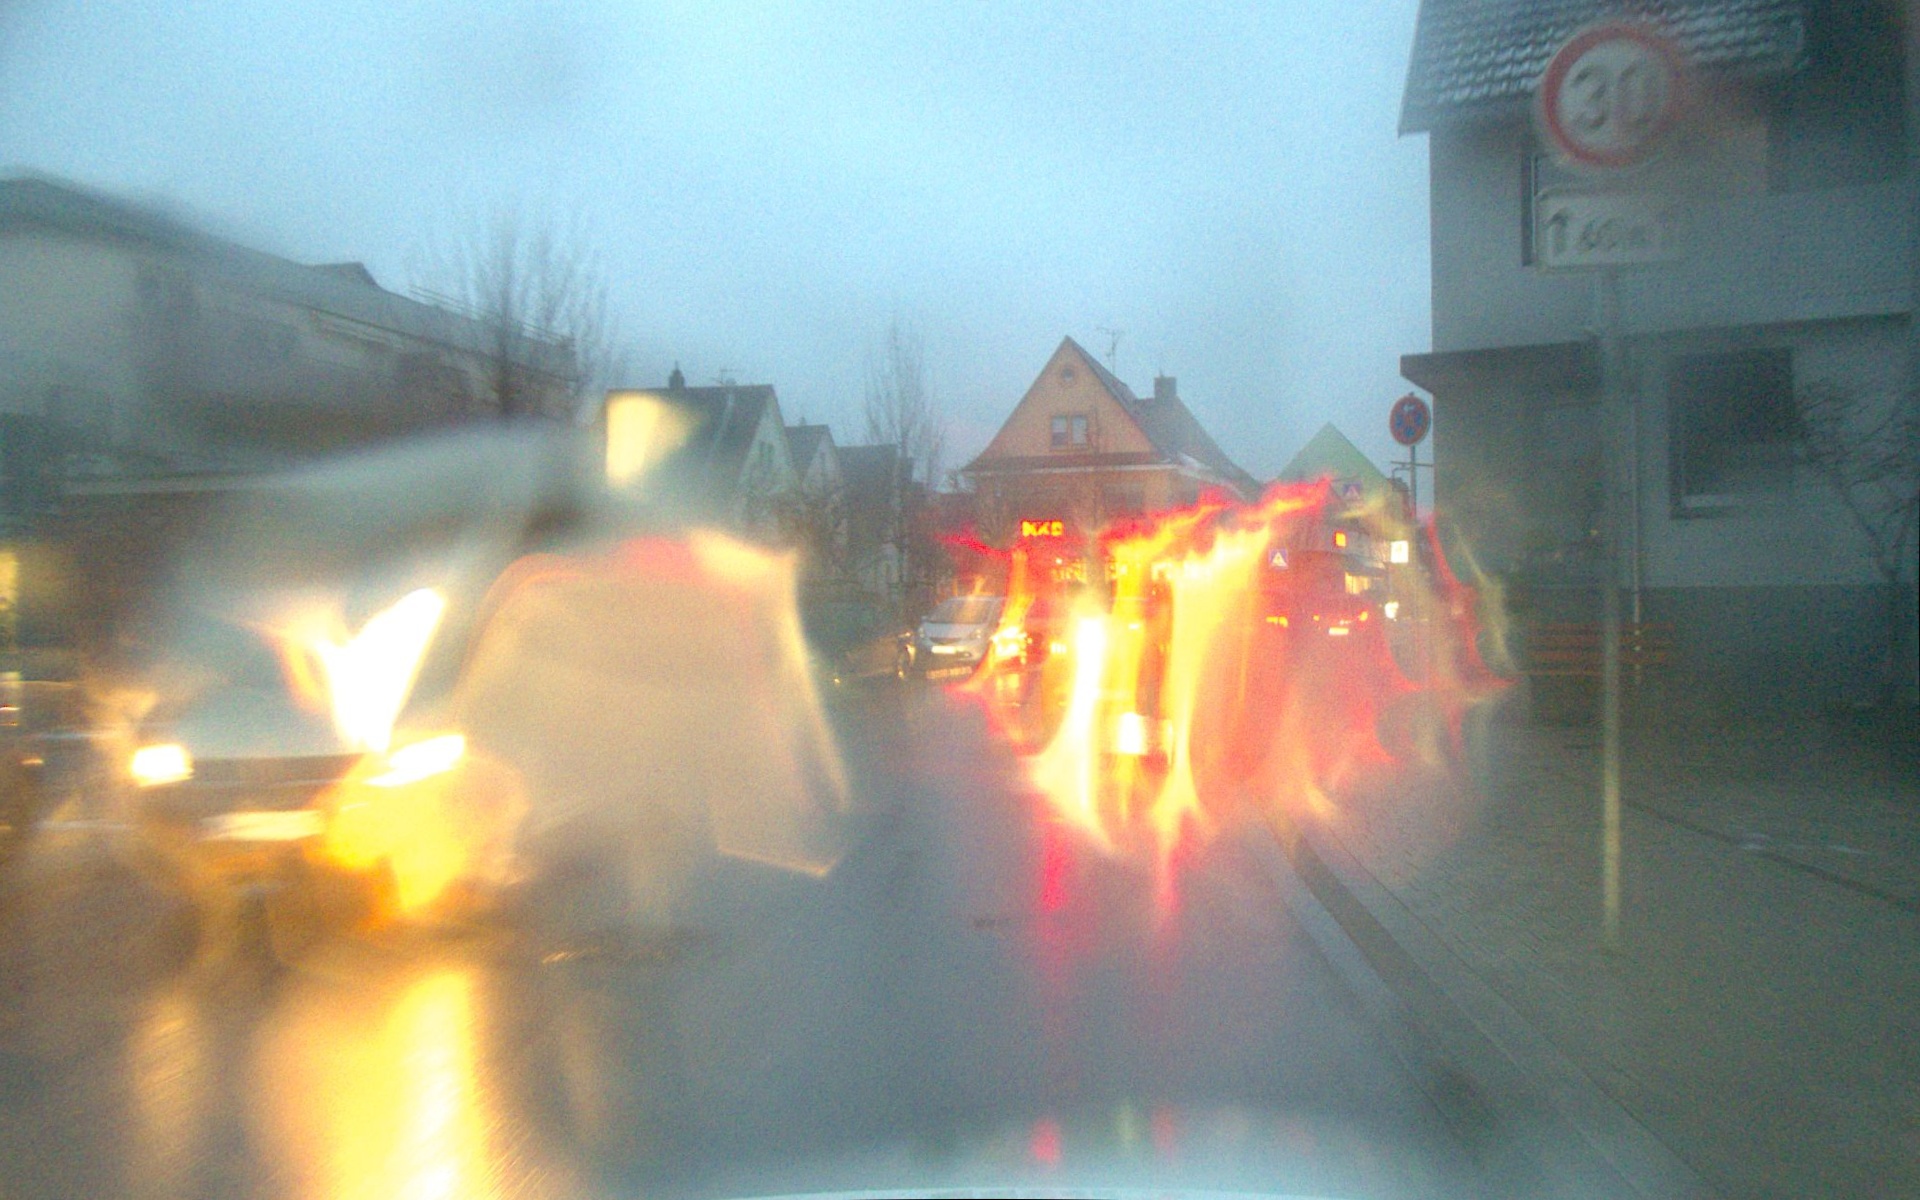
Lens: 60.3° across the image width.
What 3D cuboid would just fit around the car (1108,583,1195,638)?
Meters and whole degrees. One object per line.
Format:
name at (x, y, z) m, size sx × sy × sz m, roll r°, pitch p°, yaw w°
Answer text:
car at (5.789, 0.285, 49.582) m, size 1.635 × 1.543 × 4.000 m, roll 1°, pitch 0°, yaw 21°

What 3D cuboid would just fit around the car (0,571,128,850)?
car at (-6.283, 0.615, 8.778) m, size 1.795 × 1.562 × 3.676 m, roll 0°, pitch 0°, yaw 2°

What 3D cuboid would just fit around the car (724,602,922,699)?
car at (-2.241, 0.798, 28.303) m, size 1.710 × 1.498 × 4.460 m, roll 0°, pitch 0°, yaw 19°

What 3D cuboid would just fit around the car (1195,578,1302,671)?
car at (5.677, 0.458, 32.228) m, size 1.759 × 1.691 × 4.003 m, roll 0°, pitch 0°, yaw 14°

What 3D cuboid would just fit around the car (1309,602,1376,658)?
car at (10.674, 0.811, 45.980) m, size 1.614 × 1.467 × 3.869 m, roll -1°, pitch -1°, yaw 16°

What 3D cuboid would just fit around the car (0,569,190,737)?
car at (-11.644, 0.636, 20.313) m, size 3.632 × 1.937 × 1.761 m, roll -1°, pitch 0°, yaw 14°

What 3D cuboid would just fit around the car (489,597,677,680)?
car at (-7.519, 0.778, 32.778) m, size 4.019 × 1.503 × 1.728 m, roll -2°, pitch -1°, yaw 45°

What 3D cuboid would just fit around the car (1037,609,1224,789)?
car at (2.091, 1.069, 19.880) m, size 1.951 × 1.827 × 4.652 m, roll -1°, pitch 0°, yaw 7°

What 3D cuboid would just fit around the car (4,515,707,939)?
car at (-3.041, 0.565, 9.674) m, size 1.905 × 1.781 × 4.854 m, roll -3°, pitch 0°, yaw 5°

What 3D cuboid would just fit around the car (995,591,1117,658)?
car at (2.442, 0.567, 40.980) m, size 1.713 × 1.543 × 4.341 m, roll 1°, pitch 0°, yaw 22°

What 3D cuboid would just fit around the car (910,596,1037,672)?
car at (0.350, 0.685, 35.747) m, size 1.657 × 1.543 × 3.774 m, roll 1°, pitch 0°, yaw 18°
